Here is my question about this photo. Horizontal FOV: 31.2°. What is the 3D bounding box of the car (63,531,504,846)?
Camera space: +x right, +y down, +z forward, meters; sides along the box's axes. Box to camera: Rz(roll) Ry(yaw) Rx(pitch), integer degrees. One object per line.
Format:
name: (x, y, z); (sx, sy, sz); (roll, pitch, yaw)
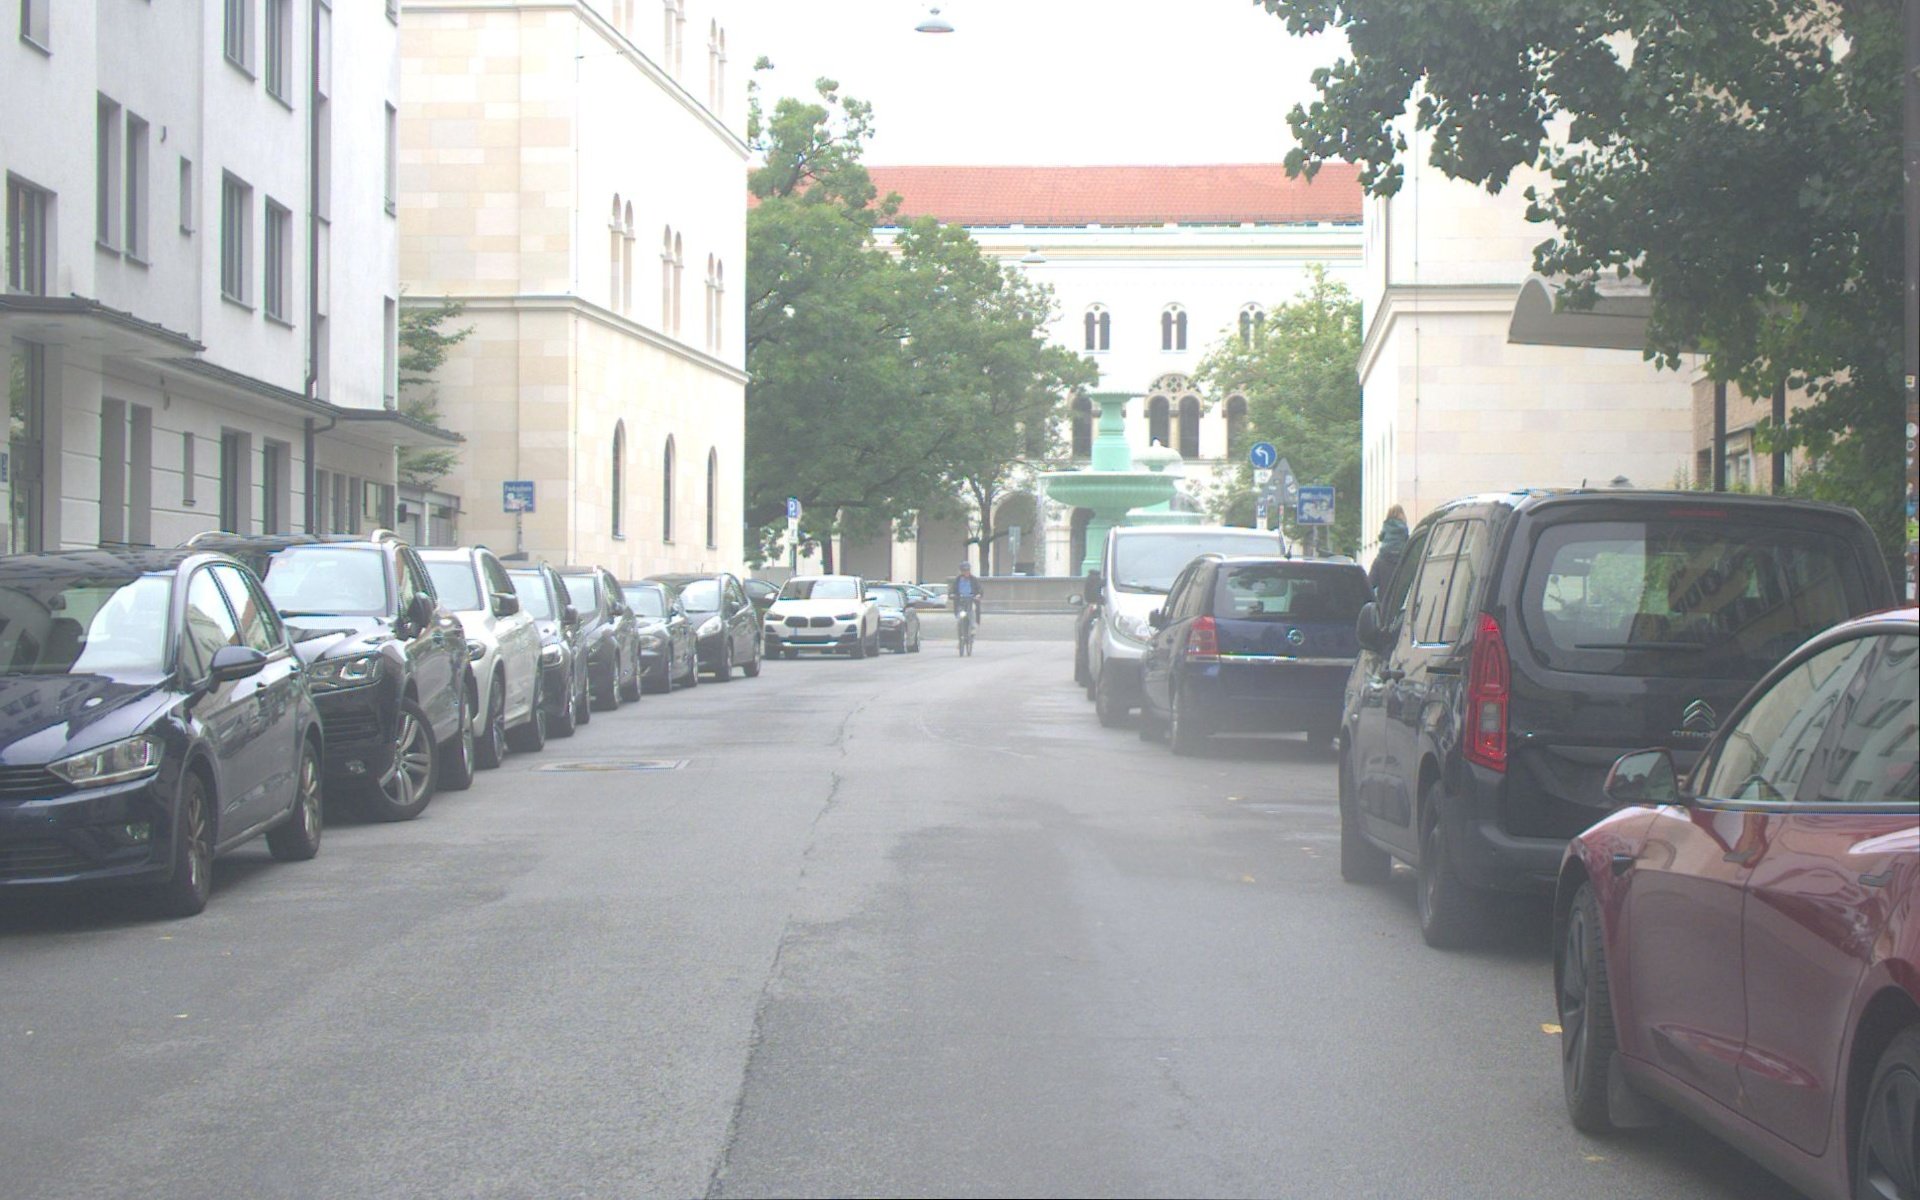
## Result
car: (-4.037, 0.445, 21.264); (1.872, 1.682, 4.521); (-2, 1, -1)

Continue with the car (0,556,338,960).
car: (-4.073, 0.612, 15.608); (1.773, 1.534, 4.159); (-2, 1, -1)

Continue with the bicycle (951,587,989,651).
bicycle: (0.187, 0.350, 65.265); (0.648, 1.193, 1.950); (-1, 0, 2)

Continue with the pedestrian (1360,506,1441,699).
pedestrian: (5.046, 0.019, 39.433); (0.793, 2.190, 0.814); (0, 1, -1)

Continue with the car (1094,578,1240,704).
car: (2.503, 0.460, 41.750); (1.673, 1.412, 4.201); (1, 1, 3)

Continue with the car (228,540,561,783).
car: (-4.288, 0.399, 26.759); (1.872, 1.652, 4.591); (-2, 1, -1)

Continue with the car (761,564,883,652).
car: (-2.521, 0.147, 63.724); (1.778, 1.529, 4.211); (-2, 0, 4)

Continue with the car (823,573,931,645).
car: (-1.665, 0.185, 70.065); (1.699, 1.388, 4.211); (-2, 0, 5)

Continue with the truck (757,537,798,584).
truck: (-9.978, -2.172, 188.197); (1.993, 2.480, 4.001); (1, 1, -6)

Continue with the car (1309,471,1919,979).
car: (2.628, 0.440, 14.480); (1.846, 1.770, 4.201); (2, 0, 0)

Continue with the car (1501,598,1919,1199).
car: (2.435, 0.726, 7.395); (1.713, 1.419, 4.458); (0, 1, -2)

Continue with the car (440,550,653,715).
car: (-4.538, 0.312, 38.289); (1.872, 1.652, 4.080); (-2, 1, -1)

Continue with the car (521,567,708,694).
car: (-4.347, 0.351, 43.761); (1.751, 1.448, 4.015); (-2, 1, 3)

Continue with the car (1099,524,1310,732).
car: (2.353, 0.231, 34.167); (1.882, 1.918, 4.874); (0, 1, 2)

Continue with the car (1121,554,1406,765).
car: (2.422, 0.427, 28.399); (1.807, 1.595, 4.215); (1, 1, -2)

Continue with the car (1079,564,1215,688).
car: (2.507, 0.324, 46.358); (1.747, 1.588, 3.955); (1, 0, 3)

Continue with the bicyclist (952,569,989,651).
bicyclist: (0.195, 0.195, 65.372); (0.657, 1.545, 0.887); (-1, 0, 2)

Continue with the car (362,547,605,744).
car: (-4.443, 0.365, 32.663); (1.872, 1.652, 4.591); (-2, 1, -3)

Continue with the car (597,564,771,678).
car: (-3.839, 0.266, 48.471); (1.751, 1.448, 4.015); (-2, 1, 5)
